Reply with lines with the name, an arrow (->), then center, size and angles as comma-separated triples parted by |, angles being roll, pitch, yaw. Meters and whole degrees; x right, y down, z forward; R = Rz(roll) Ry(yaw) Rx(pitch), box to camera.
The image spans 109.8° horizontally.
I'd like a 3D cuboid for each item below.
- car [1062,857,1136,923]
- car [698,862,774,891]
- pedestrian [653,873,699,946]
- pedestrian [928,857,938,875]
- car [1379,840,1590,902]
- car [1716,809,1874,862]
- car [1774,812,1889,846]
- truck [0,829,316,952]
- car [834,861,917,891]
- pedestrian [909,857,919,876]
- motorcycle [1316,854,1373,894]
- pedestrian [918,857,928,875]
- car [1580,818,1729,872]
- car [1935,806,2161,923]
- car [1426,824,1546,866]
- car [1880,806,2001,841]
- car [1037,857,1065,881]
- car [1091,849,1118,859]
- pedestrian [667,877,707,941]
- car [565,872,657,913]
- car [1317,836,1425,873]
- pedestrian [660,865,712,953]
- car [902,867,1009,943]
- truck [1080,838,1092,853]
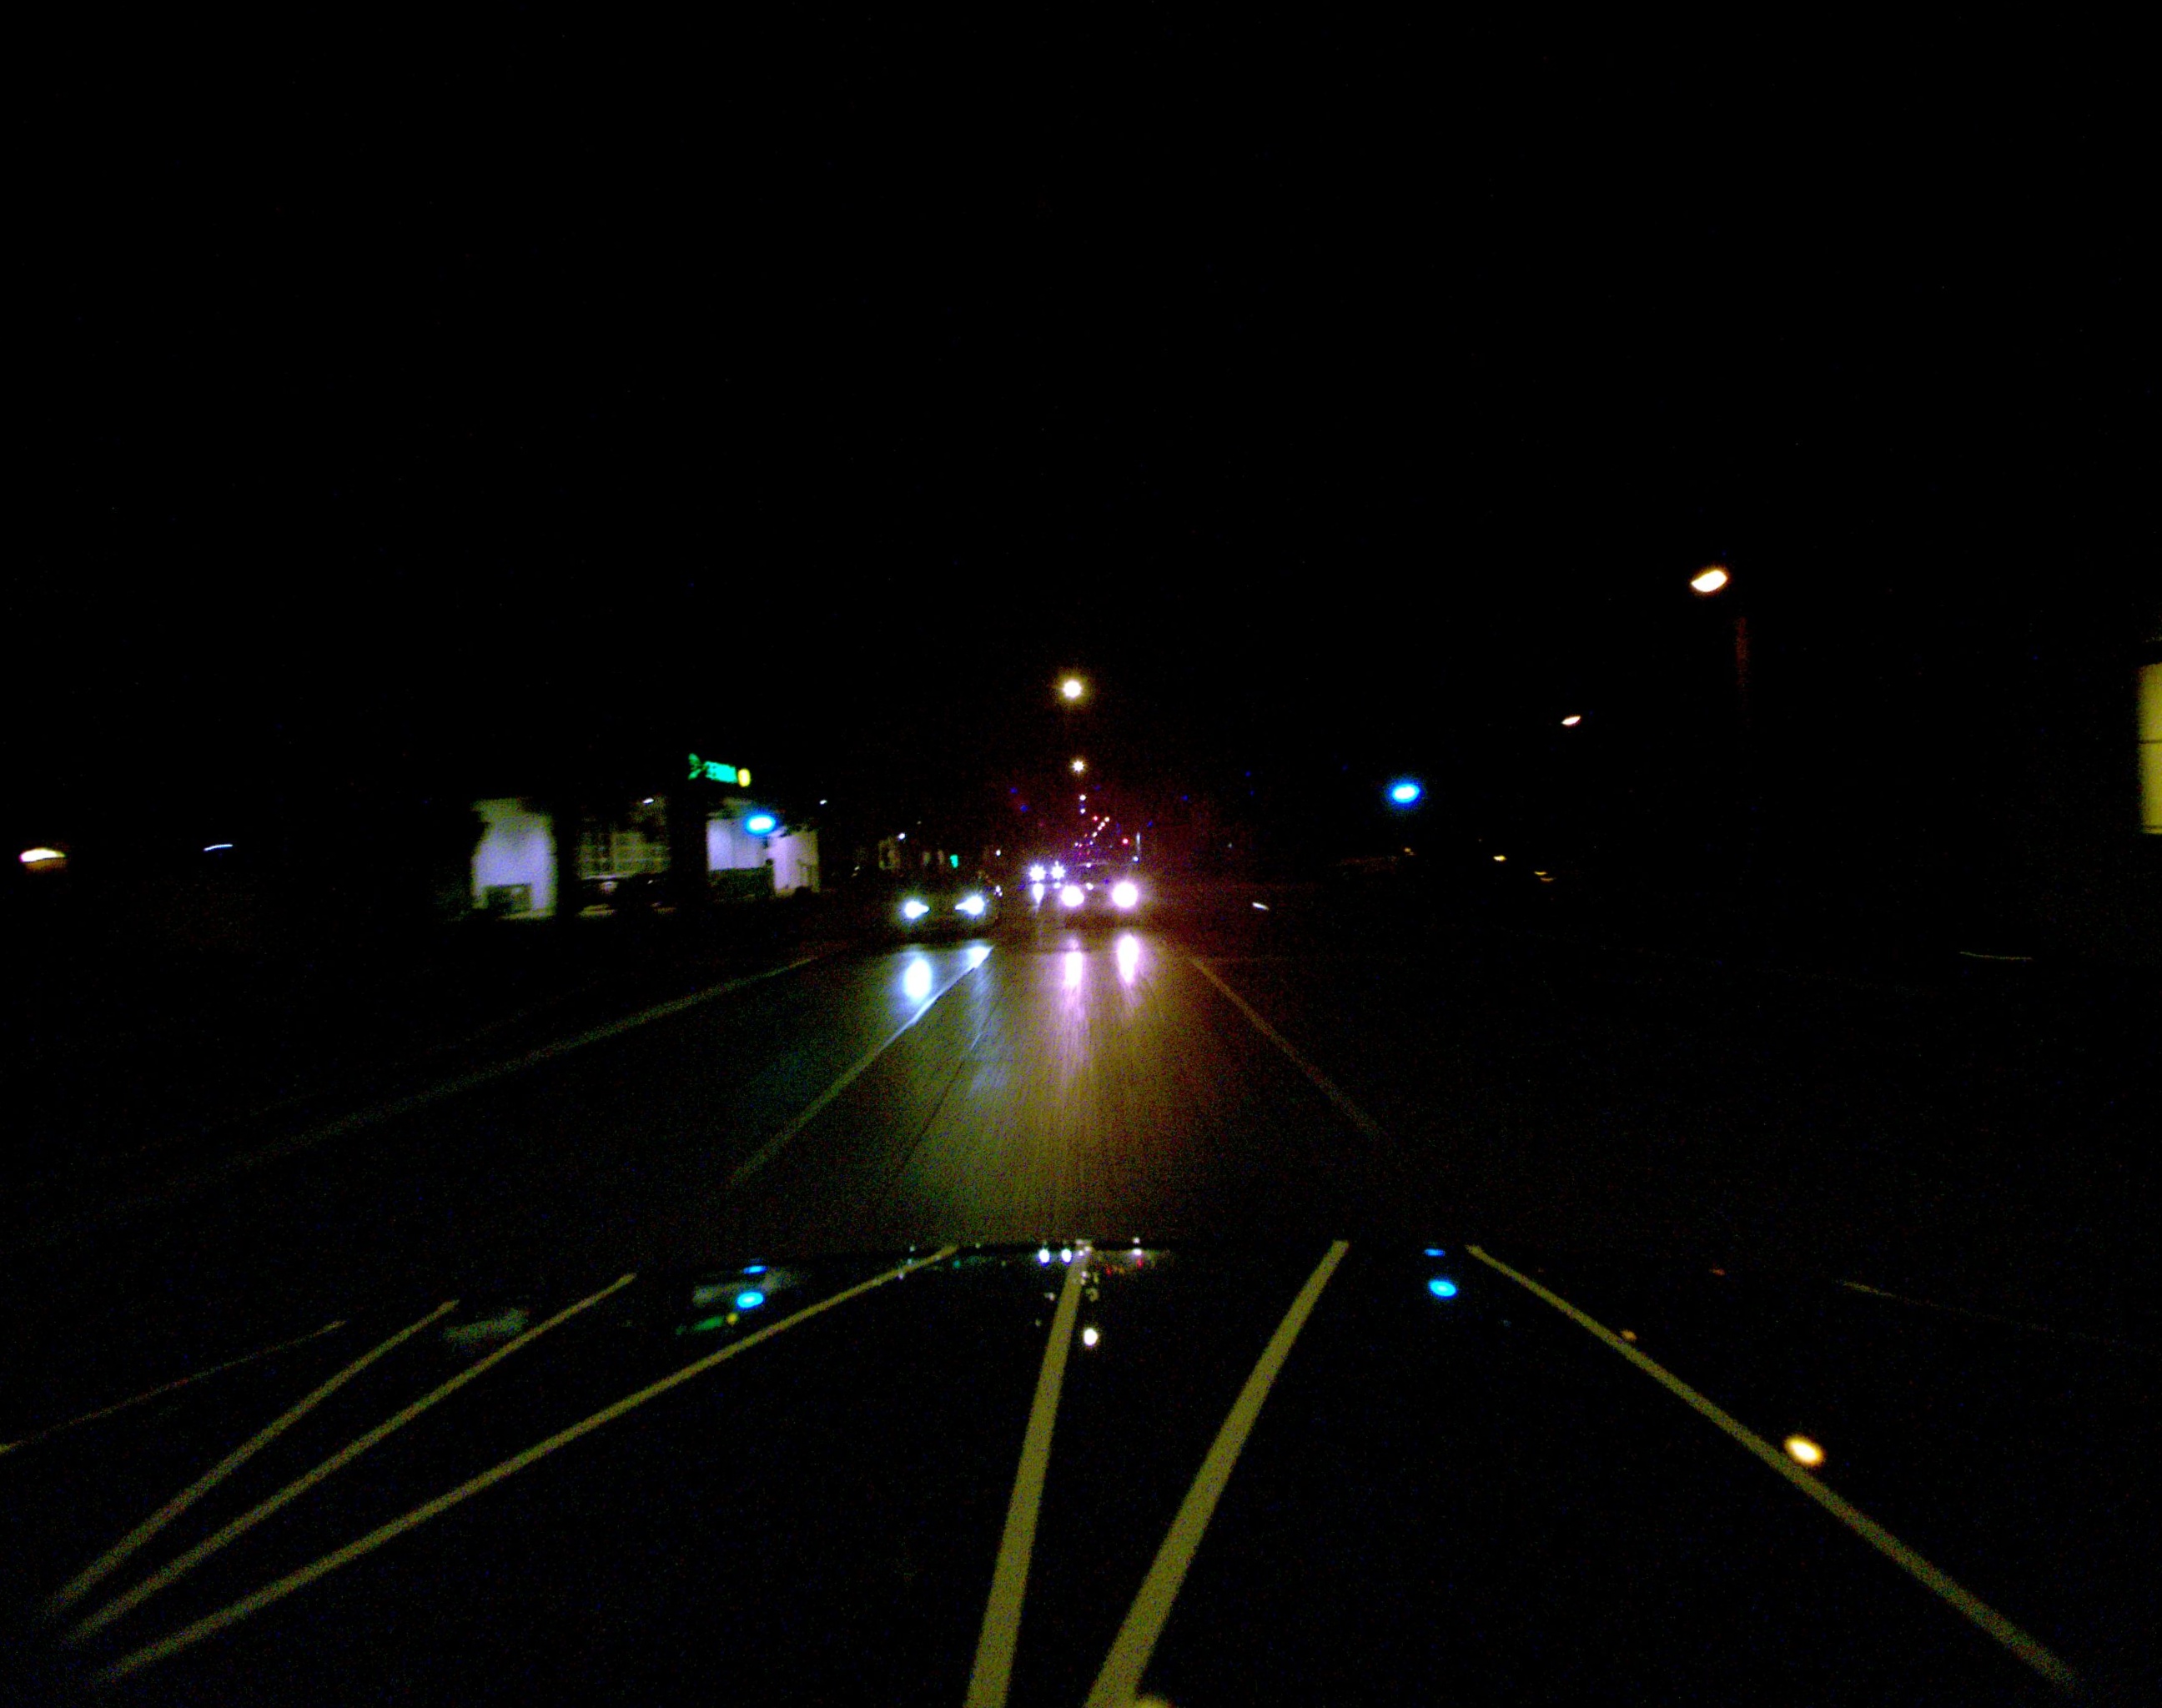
car -> 0.481, 0.845, 19.504 | 1.634, 1.430, 3.841 | -3, 0, 2
car -> -22.040, 1.444, 48.598 | 3.961, 1.557, 1.714 | -3, 1, -3
pedestrian -> -9.492, 1.291, 17.824 | 0.622, 1.629, 0.679 | -3, 1, 1
pedestrian -> -14.306, 1.136, 73.402 | 0.737, 1.707, 0.985 | -2, 1, 1
car -> 10.710, 0.426, 20.547 | 1.895, 1.416, 4.718 | -2, 1, -31
car -> 28.275, -0.755, 30.223 | 4.349, 1.745, 1.960 | -4, 4, 2
car -> 38.551, -1.259, 39.102 | 3.997, 1.496, 1.903 | -3, 0, -1
truck -> -38.426, 1.446, 27.942 | 16.823, 3.961, 3.131 | -3, 2, -1
car -> -11.512, 1.228, 42.718 | 4.092, 1.446, 1.786 | -2, 1, 0
pedestrian -> -16.133, 1.220, 73.567 | 0.676, 1.806, 0.906 | -2, 1, 1
motorcycle -> 8.230, 0.600, 23.801 | 0.574, 1.173, 2.029 | -3, 1, -17
pedestrian -> -15.320, 1.161, 73.683 | 0.721, 1.778, 0.970 | -2, 1, 1
car -> 22.667, -0.382, 30.152 | 4.349, 1.744, 1.956 | -4, 3, 3
car -> 16.676, 0.123, 11.837 | 1.922, 1.635, 4.102 | -6, 2, -28
car -> 20.766, -0.454, 39.112 | 5.001, 1.879, 2.028 | -3, 0, -1
car -> 44.124, -1.554, 39.078 | 3.996, 1.496, 1.828 | -3, 0, 2
car -> -1.985, 0.987, 51.635 | 1.729, 1.455, 3.999 | -2, 1, 0
car -> 3.555, -0.029, 114.575 | 3.630, 1.259, 1.617 | -4, 1, -23
pedestrian -> -9.826, 1.361, 18.945 | 0.574, 1.525, 0.633 | -3, 1, 1
car -> -21.599, 1.723, 35.139 | 1.731, 1.587, 3.999 | -2, 1, -1
car -> 14.768, 0.004, 38.858 | 4.672, 1.620, 2.003 | -2, 1, -1
pedestrian -> -8.531, 1.170, 16.445 | 0.623, 1.801, 0.759 | -3, 1, 1
car -> -2.929, 1.136, 18.652 | 1.729, 1.421, 4.498 | -4, 1, 1
truck -> 1.722, -2.931, 249.083 | 3.517, 4.558, 9.039 | -5, 1, 0
